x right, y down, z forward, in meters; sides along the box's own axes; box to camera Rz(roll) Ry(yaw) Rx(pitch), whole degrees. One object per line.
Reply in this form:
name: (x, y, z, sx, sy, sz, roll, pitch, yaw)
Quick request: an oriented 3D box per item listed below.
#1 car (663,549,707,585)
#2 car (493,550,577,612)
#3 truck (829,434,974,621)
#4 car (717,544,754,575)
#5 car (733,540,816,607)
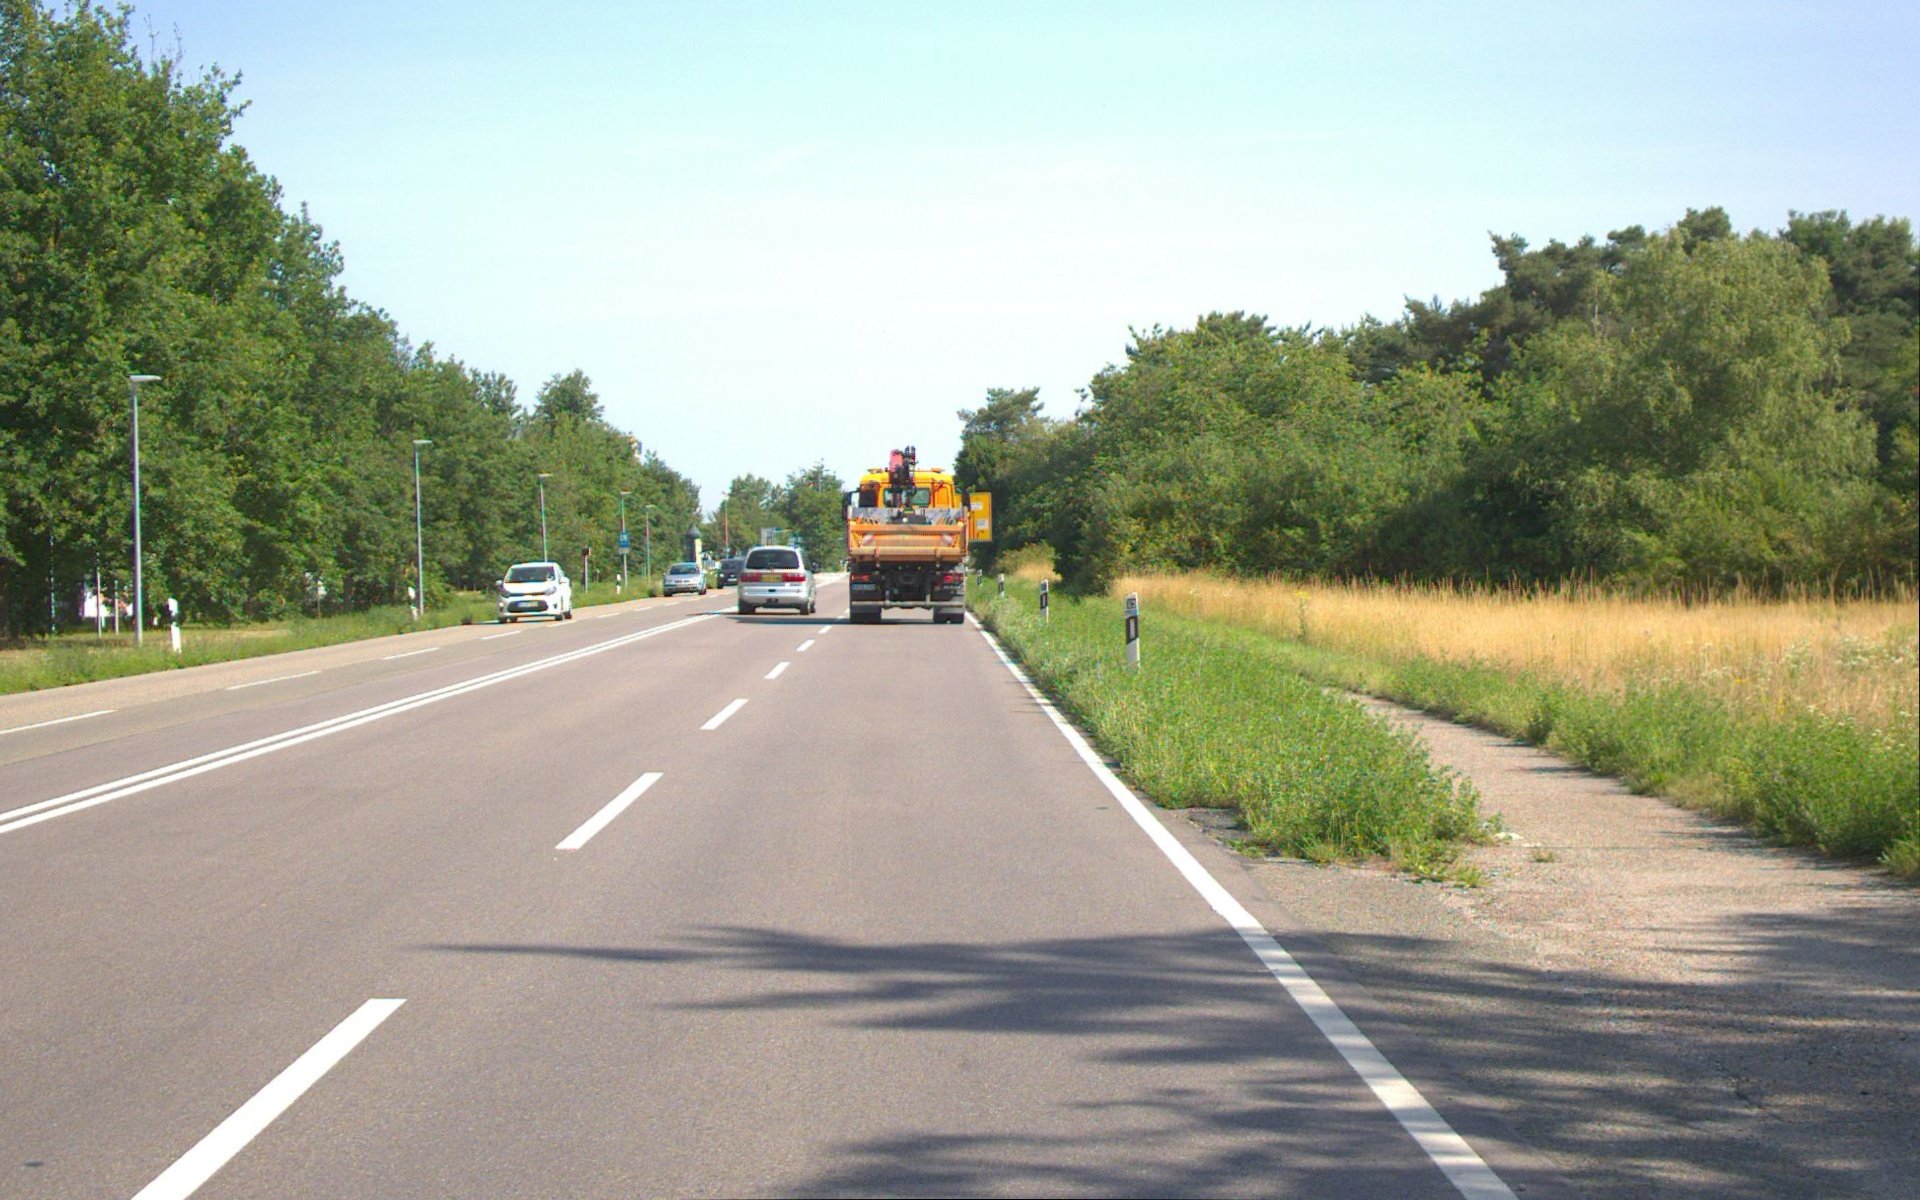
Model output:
car: (-11.966, -1.449, 149.895, 1.598, 1.437, 4.000, -3, 1, -1)
car: (-10.756, -0.497, 87.111, 1.659, 1.432, 3.736, -3, 1, -1)
truck: (-1.370, -1.569, 75.682, 2.871, 3.867, 7.401, 1, 1, -3)
car: (-12.568, -2.274, 192.350, 1.825, 1.666, 4.390, -3, 1, -2)
car: (-4.596, -0.676, 85.311, 1.993, 1.578, 4.001, -1, 1, -3)
